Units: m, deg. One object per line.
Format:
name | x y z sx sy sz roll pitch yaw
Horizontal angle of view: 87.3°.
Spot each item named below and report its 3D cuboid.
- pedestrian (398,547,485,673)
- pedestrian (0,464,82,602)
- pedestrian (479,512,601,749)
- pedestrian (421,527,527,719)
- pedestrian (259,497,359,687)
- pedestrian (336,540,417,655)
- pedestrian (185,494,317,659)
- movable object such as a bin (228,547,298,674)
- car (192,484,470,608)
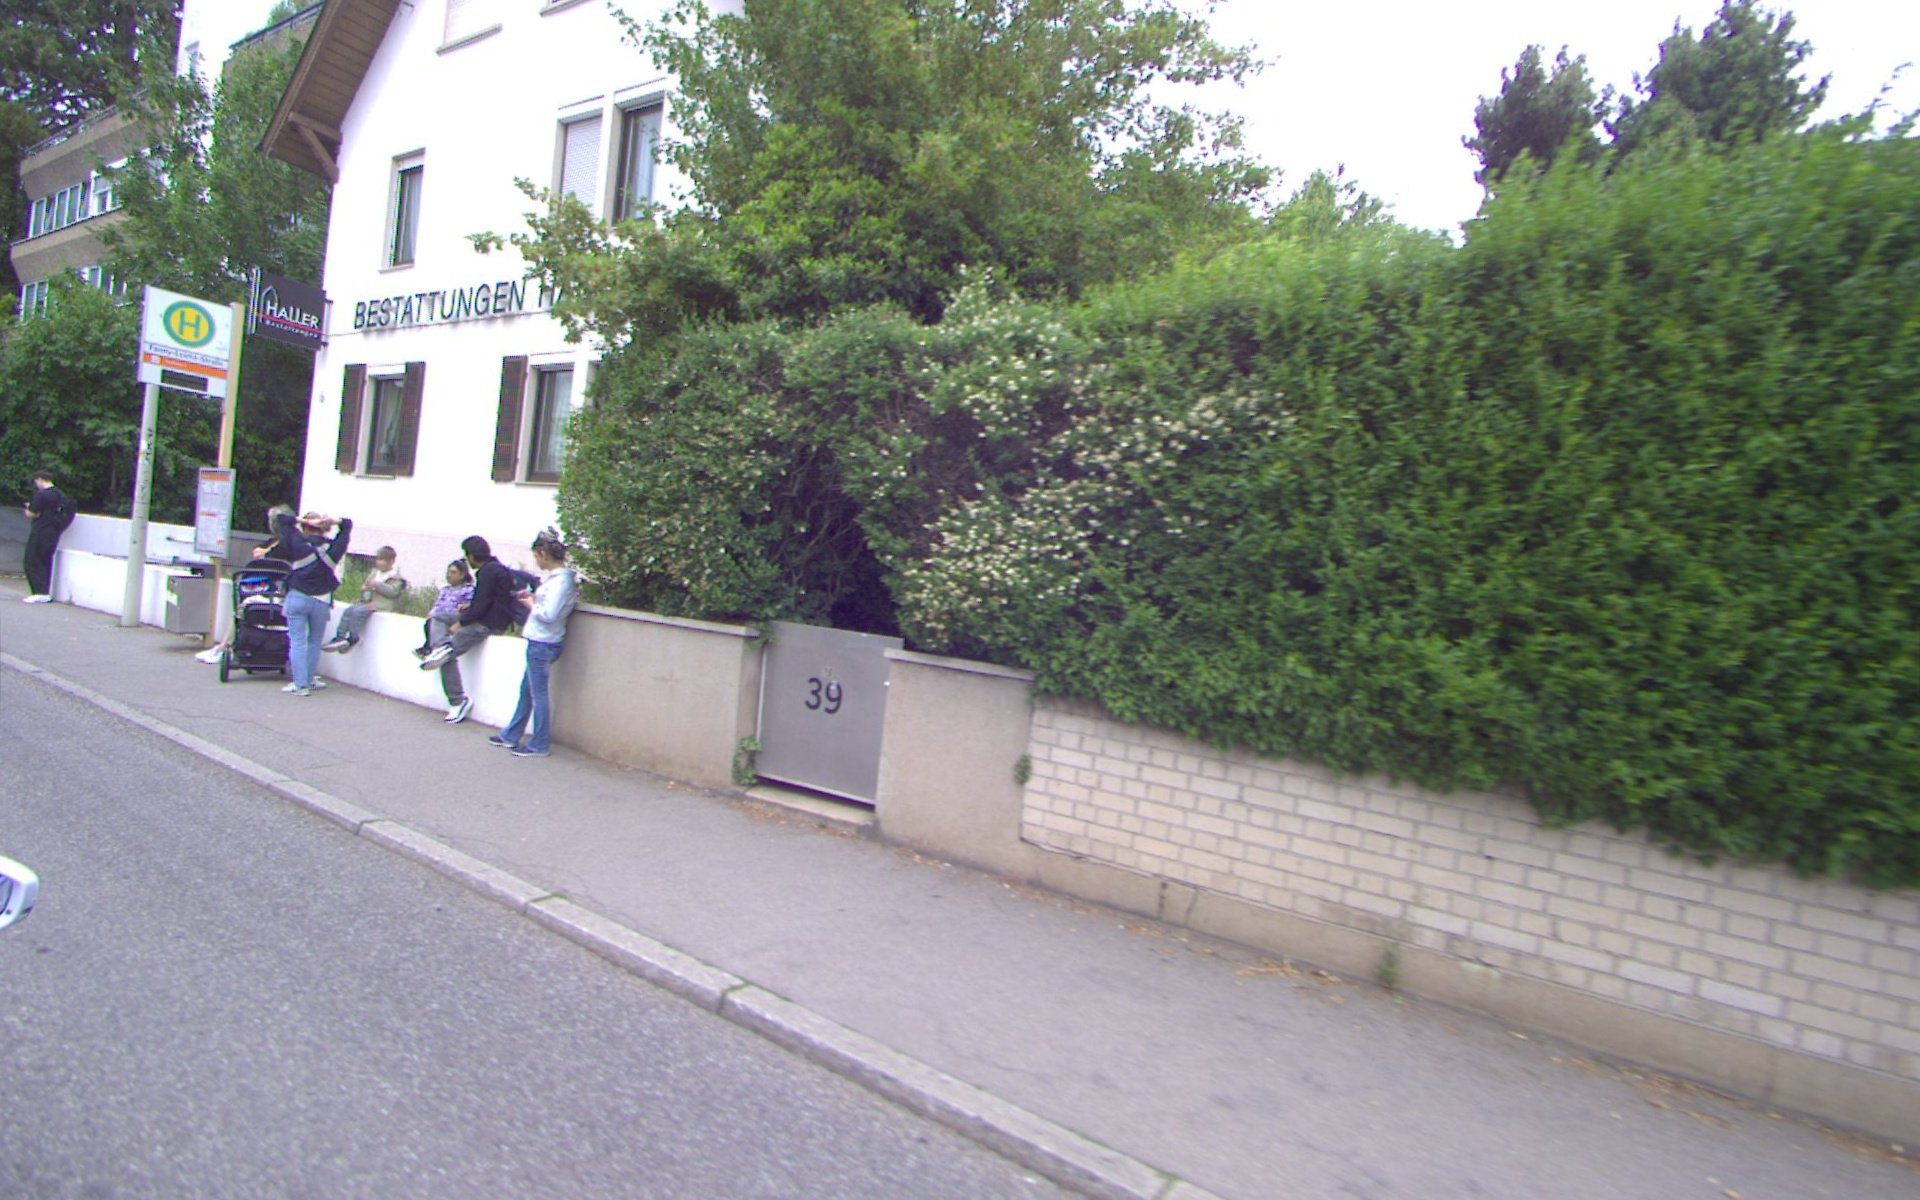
pedestrian | -4.279 0.078 8.306 0.376 0.978 0.454 7 4 27
pedestrian | -12.179 -0.878 13.333 0.521 1.734 0.586 7 2 32
pedestrian | -2.963 0.201 7.115 0.463 1.577 0.544 7 4 24
pedestrian | -3.851 0.173 8.005 0.612 1.447 0.510 4 4 -19
pedestrian | -5.498 -0.057 8.494 0.356 1.537 0.548 9 4 41
pedestrian | -5.240 -0.023 9.039 0.376 0.978 0.454 7 4 27
pedestrian | -6.927 -0.214 9.840 0.594 1.519 0.781 7 2 27
movable object such as a bin | -6.275 0.085 9.073 0.437 1.072 0.563 4 4 -31
car | -11.848 -0.948 19.233 1.856 1.811 3.993 6 0 29
